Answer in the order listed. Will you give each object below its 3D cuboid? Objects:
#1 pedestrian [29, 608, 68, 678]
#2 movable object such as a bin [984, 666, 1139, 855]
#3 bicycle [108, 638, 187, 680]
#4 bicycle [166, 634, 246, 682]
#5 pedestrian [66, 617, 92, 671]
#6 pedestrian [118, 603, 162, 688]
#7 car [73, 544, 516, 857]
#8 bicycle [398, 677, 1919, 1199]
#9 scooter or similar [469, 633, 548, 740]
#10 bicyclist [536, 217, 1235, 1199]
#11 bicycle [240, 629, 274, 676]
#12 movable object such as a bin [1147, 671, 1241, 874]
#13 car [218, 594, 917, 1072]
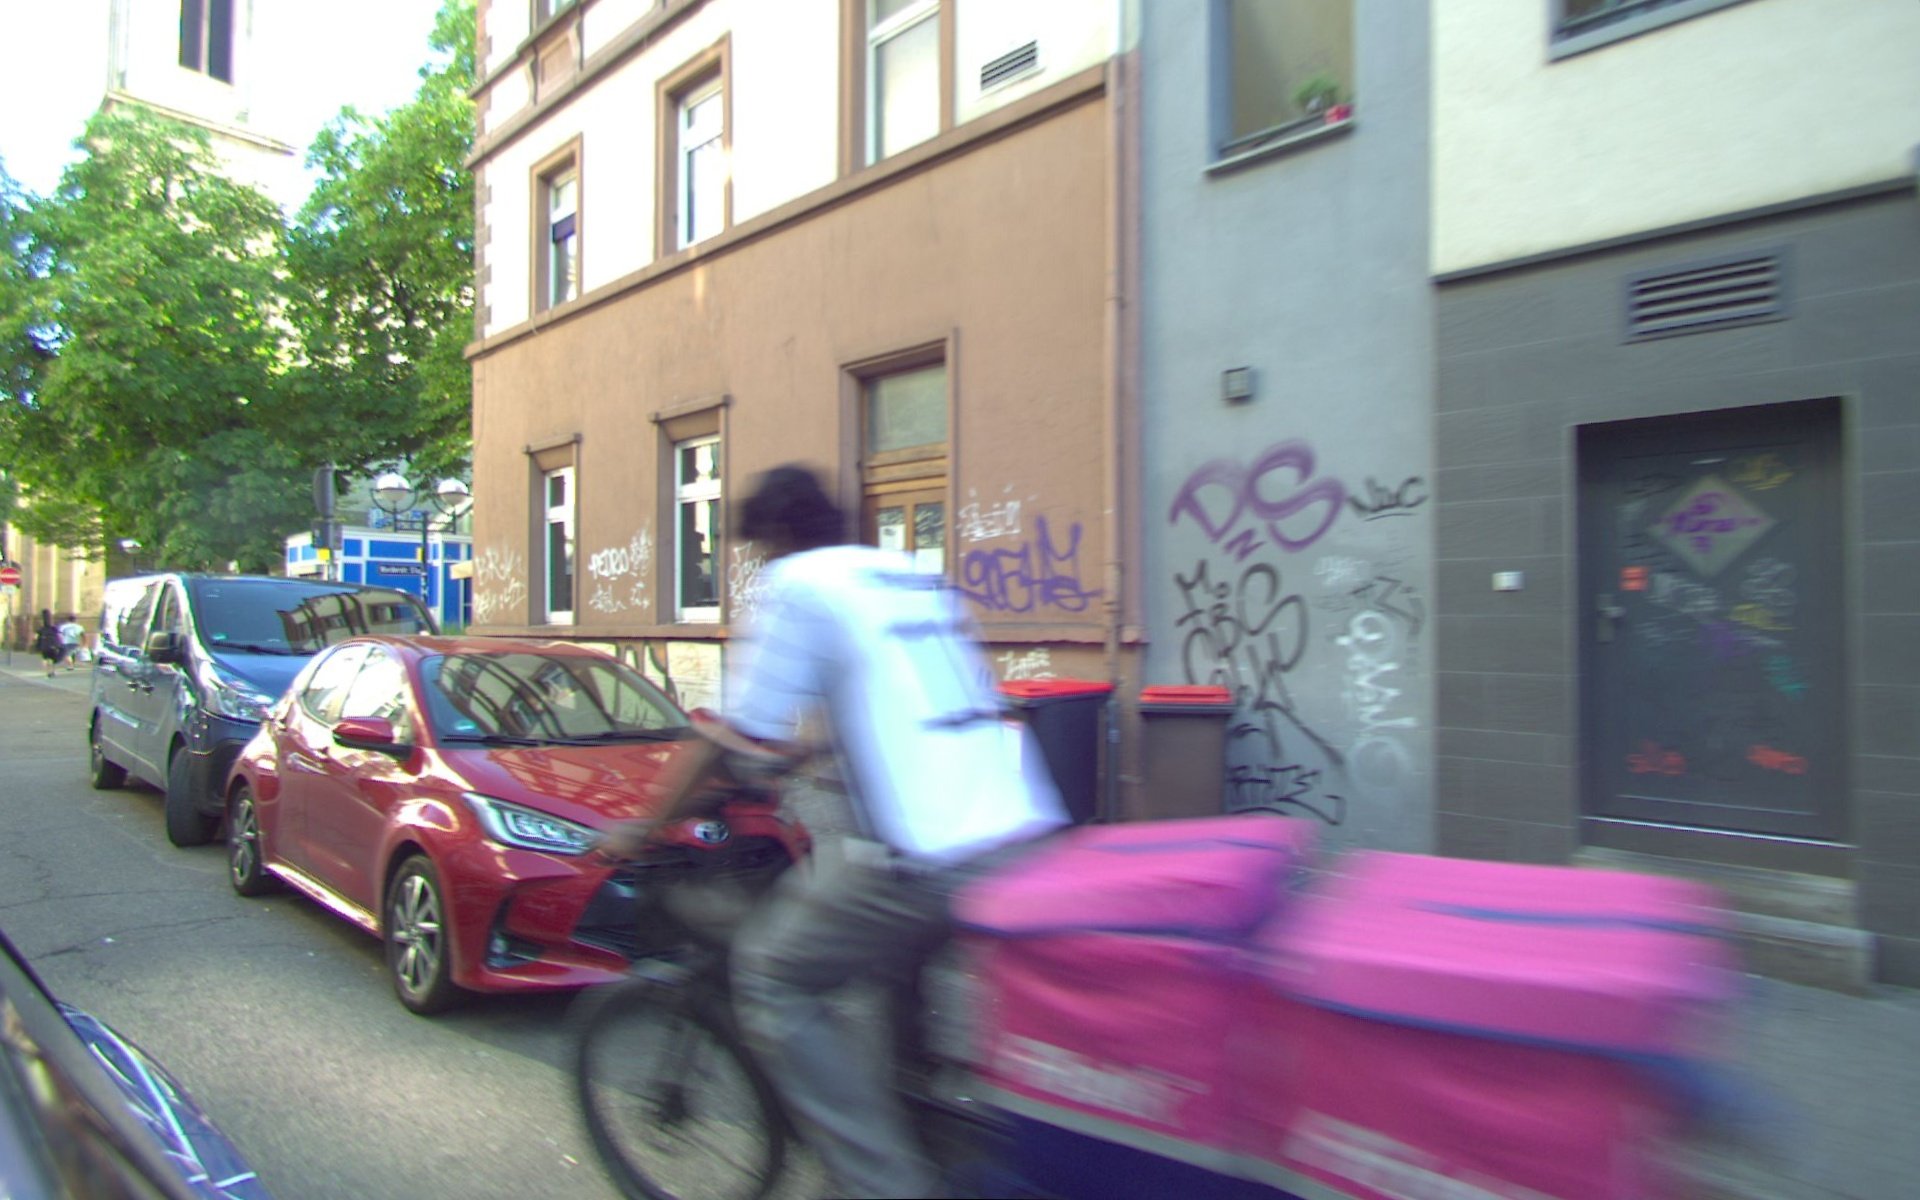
[{"bbox_3d":[-24.992,1.161,27.752,0.720,1.887,0.709,-1,-1,41],"label":"pedestrian"},{"bbox_3d":[0.646,0.990,6.529,0.748,1.075,0.653,0,0,-29],"label":"movable object such as a bin"},{"bbox_3d":[-22.603,1.625,28.186,0.346,1.073,1.673,-1,0,39],"label":"bicycle"},{"bbox_3d":[-18.241,1.395,24.508,1.553,1.090,0.347,0,0,-38],"label":"bicycle"},{"bbox_3d":[-26.989,1.335,31.001,0.714,1.605,0.474,-1,-1,39],"label":"pedestrian"},{"bbox_3d":[-18.357,0.997,22.654,0.697,1.847,0.640,-1,0,41],"label":"pedestrian"},{"bbox_3d":[-5.950,0.663,8.683,5.297,1.893,1.998,-2,-1,43],"label":"car"},{"bbox_3d":[0.054,0.852,1.830,2.552,1.324,0.968,-1,-3,39],"label":"bicycle"},{"bbox_3d":[-5.588,1.036,12.507,1.391,1.226,0.344,-1,-1,41],"label":"scooter or similar"},{"bbox_3d":[-0.109,0.336,1.986,0.952,1.640,0.941,-1,-4,39],"label":"bicyclist"},{"bbox_3d":[-16.468,1.221,23.704,1.578,1.054,0.289,-3,-2,42],"label":"bicycle"},{"bbox_3d":[1.372,0.985,6.014,0.501,1.075,0.728,0,0,10],"label":"movable object such as a bin"},{"bbox_3d":[-2.234,0.816,5.230,3.868,1.533,1.732,0,-4,42],"label":"car"}]
